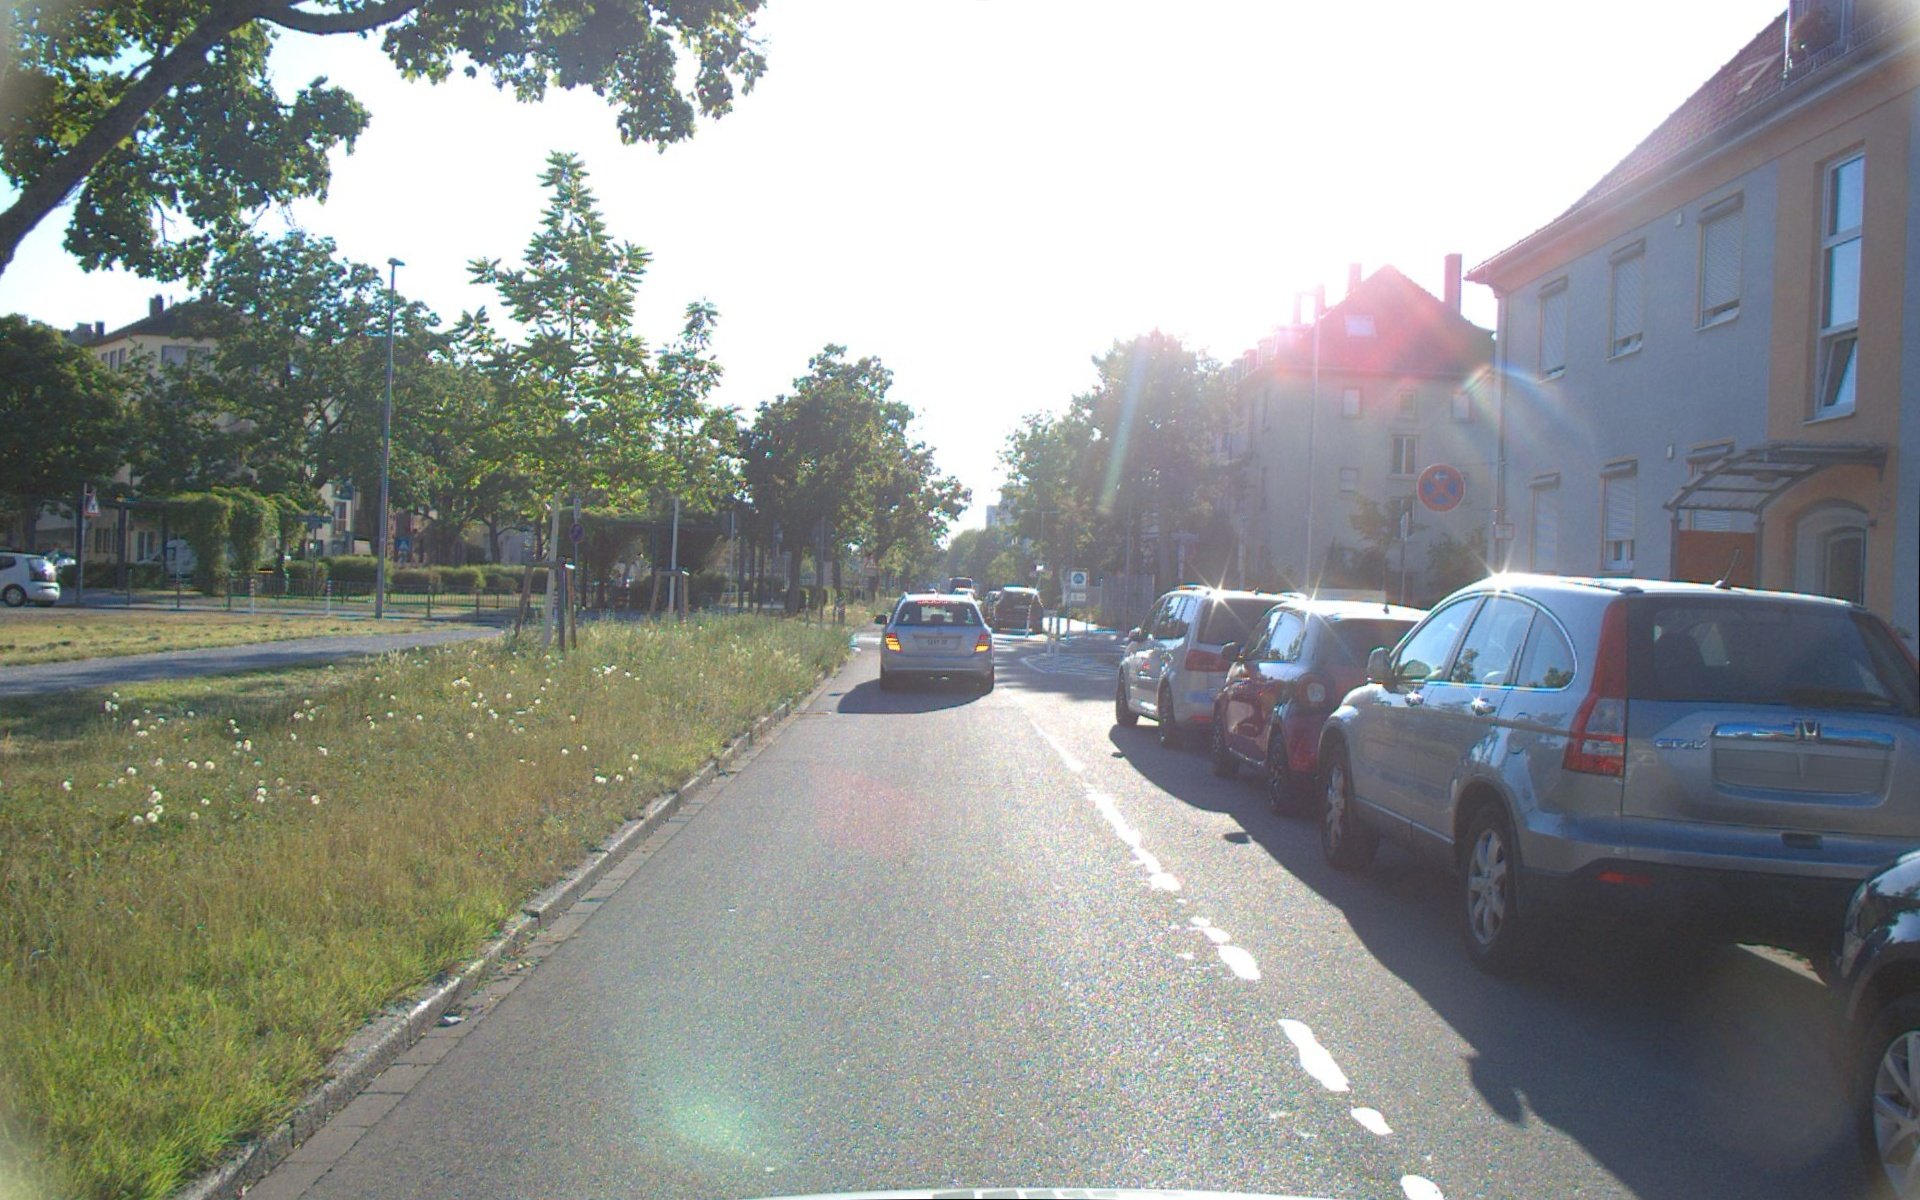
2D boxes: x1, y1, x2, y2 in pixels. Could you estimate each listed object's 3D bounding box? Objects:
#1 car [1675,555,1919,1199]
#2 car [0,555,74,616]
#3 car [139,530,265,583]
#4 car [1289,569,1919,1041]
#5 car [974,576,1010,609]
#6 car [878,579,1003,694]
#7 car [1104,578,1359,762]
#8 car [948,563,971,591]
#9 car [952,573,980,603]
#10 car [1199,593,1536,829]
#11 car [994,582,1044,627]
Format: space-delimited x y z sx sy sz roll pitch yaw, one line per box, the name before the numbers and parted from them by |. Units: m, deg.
car | 3.228 0.772 2.891 1.730 1.663 4.763 3 0 -2
car | -27.140 -0.366 46.073 3.812 1.624 2.001 -2 0 2
car | -42.471 -2.399 92.729 6.232 2.767 1.982 1 1 -32
car | 3.069 0.718 8.323 1.741 1.671 4.755 1 1 -1
car | 1.644 -0.414 85.667 1.686 1.624 4.000 2 1 -1
car | -0.291 0.499 25.850 1.786 1.593 4.000 1 1 -1
car | 2.855 0.662 18.438 1.683 1.667 4.560 3 1 -5
car | -0.065 -1.921 138.615 1.823 2.231 5.070 2 1 -1
car | 0.403 -0.888 120.576 1.948 2.058 4.000 2 1 -1
car | 3.080 0.757 13.262 1.694 1.553 3.734 0 1 -2
car | 2.179 0.161 62.275 1.686 1.625 3.999 1 0 -1
